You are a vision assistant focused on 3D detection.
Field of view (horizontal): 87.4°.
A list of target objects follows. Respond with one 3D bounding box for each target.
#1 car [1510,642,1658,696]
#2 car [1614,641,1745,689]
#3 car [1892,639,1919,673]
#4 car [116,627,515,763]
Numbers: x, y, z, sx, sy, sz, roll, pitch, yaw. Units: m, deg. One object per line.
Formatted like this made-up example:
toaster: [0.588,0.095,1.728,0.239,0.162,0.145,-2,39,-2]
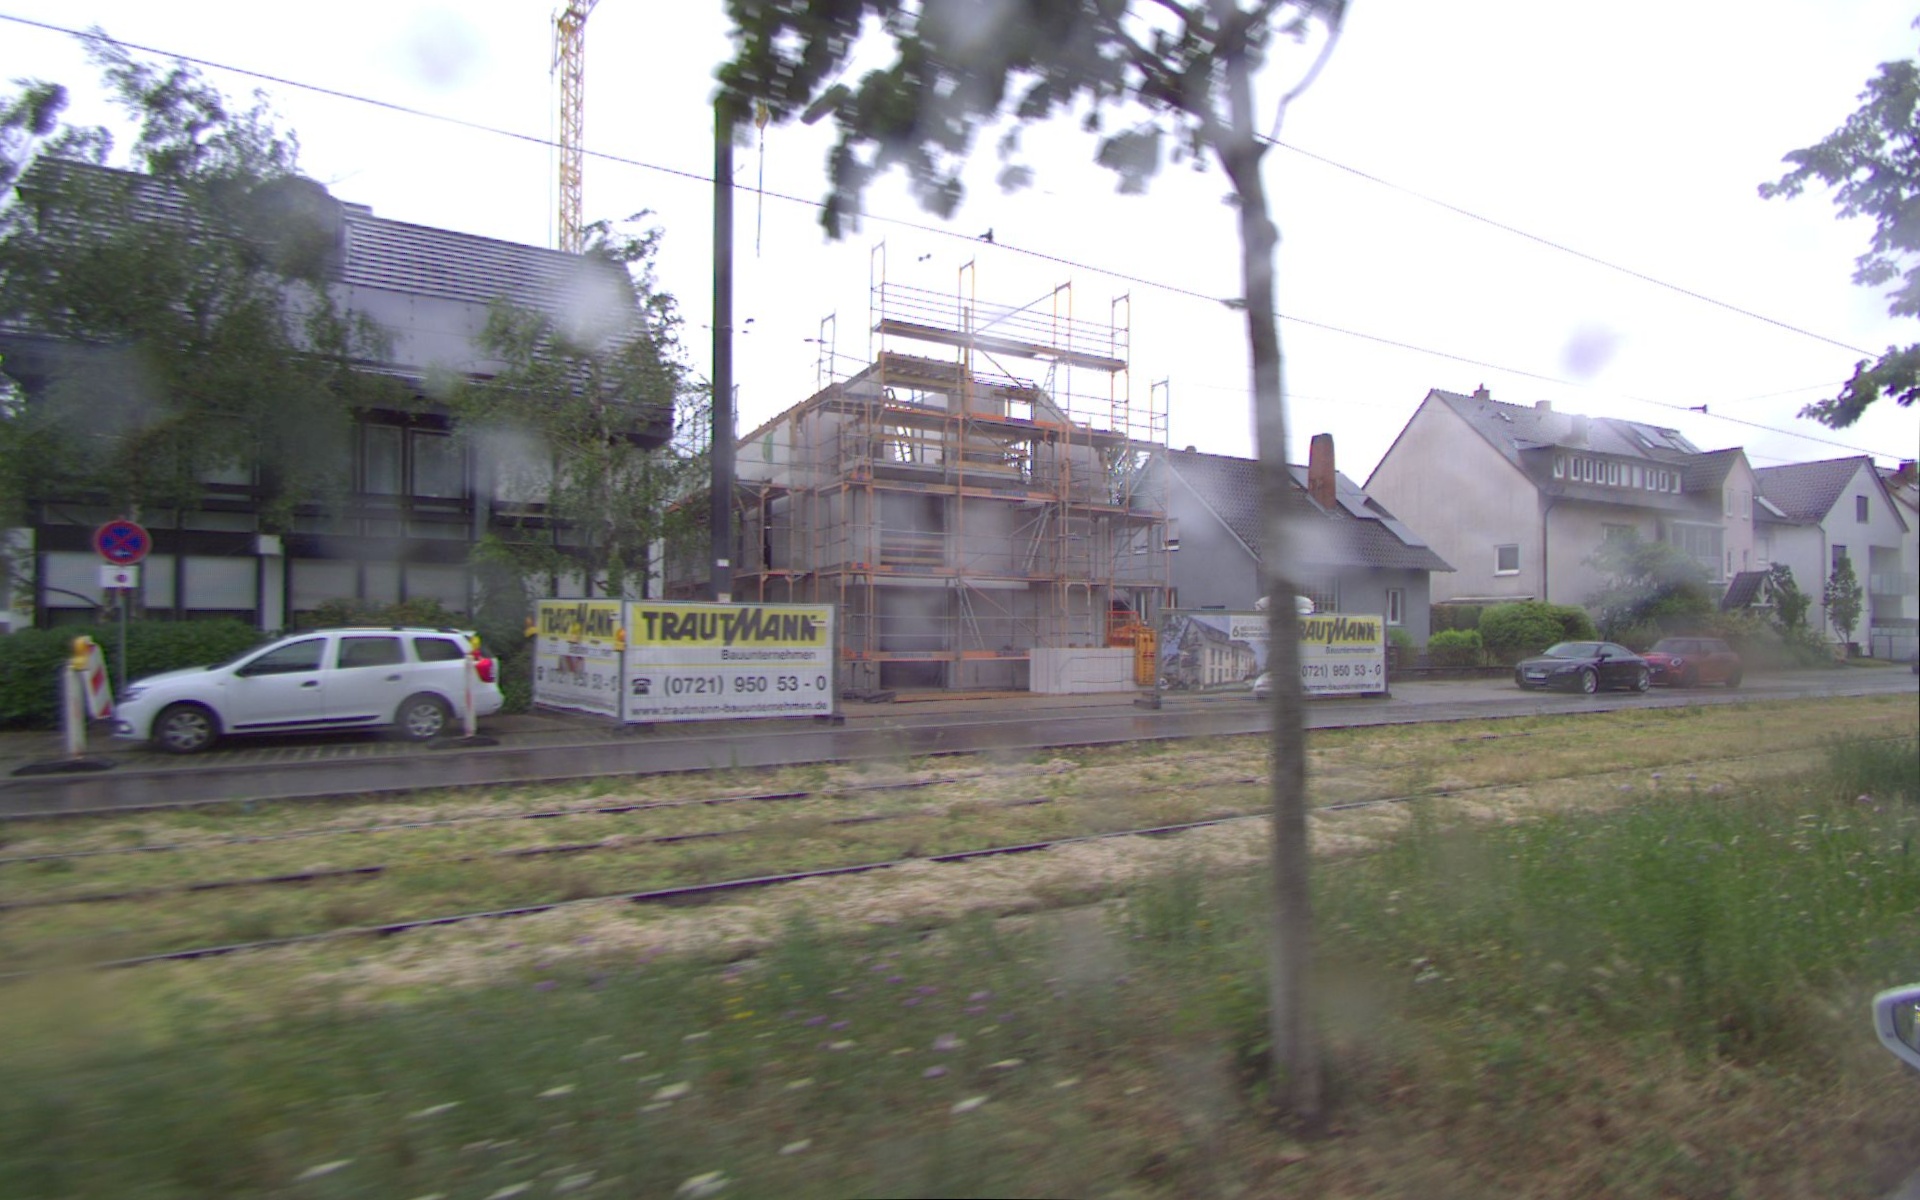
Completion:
car: [16.864,1.809,27.118,4.022,1.261,1.656,1,0,-29]
car: [21.287,1.874,29.706,3.807,1.261,1.667,1,0,-29]
car: [39.146,2.207,39.708,4.626,1.261,1.890,1,0,-27]
car: [-8.594,1.194,13.851,4.367,1.563,1.703,1,0,-29]
